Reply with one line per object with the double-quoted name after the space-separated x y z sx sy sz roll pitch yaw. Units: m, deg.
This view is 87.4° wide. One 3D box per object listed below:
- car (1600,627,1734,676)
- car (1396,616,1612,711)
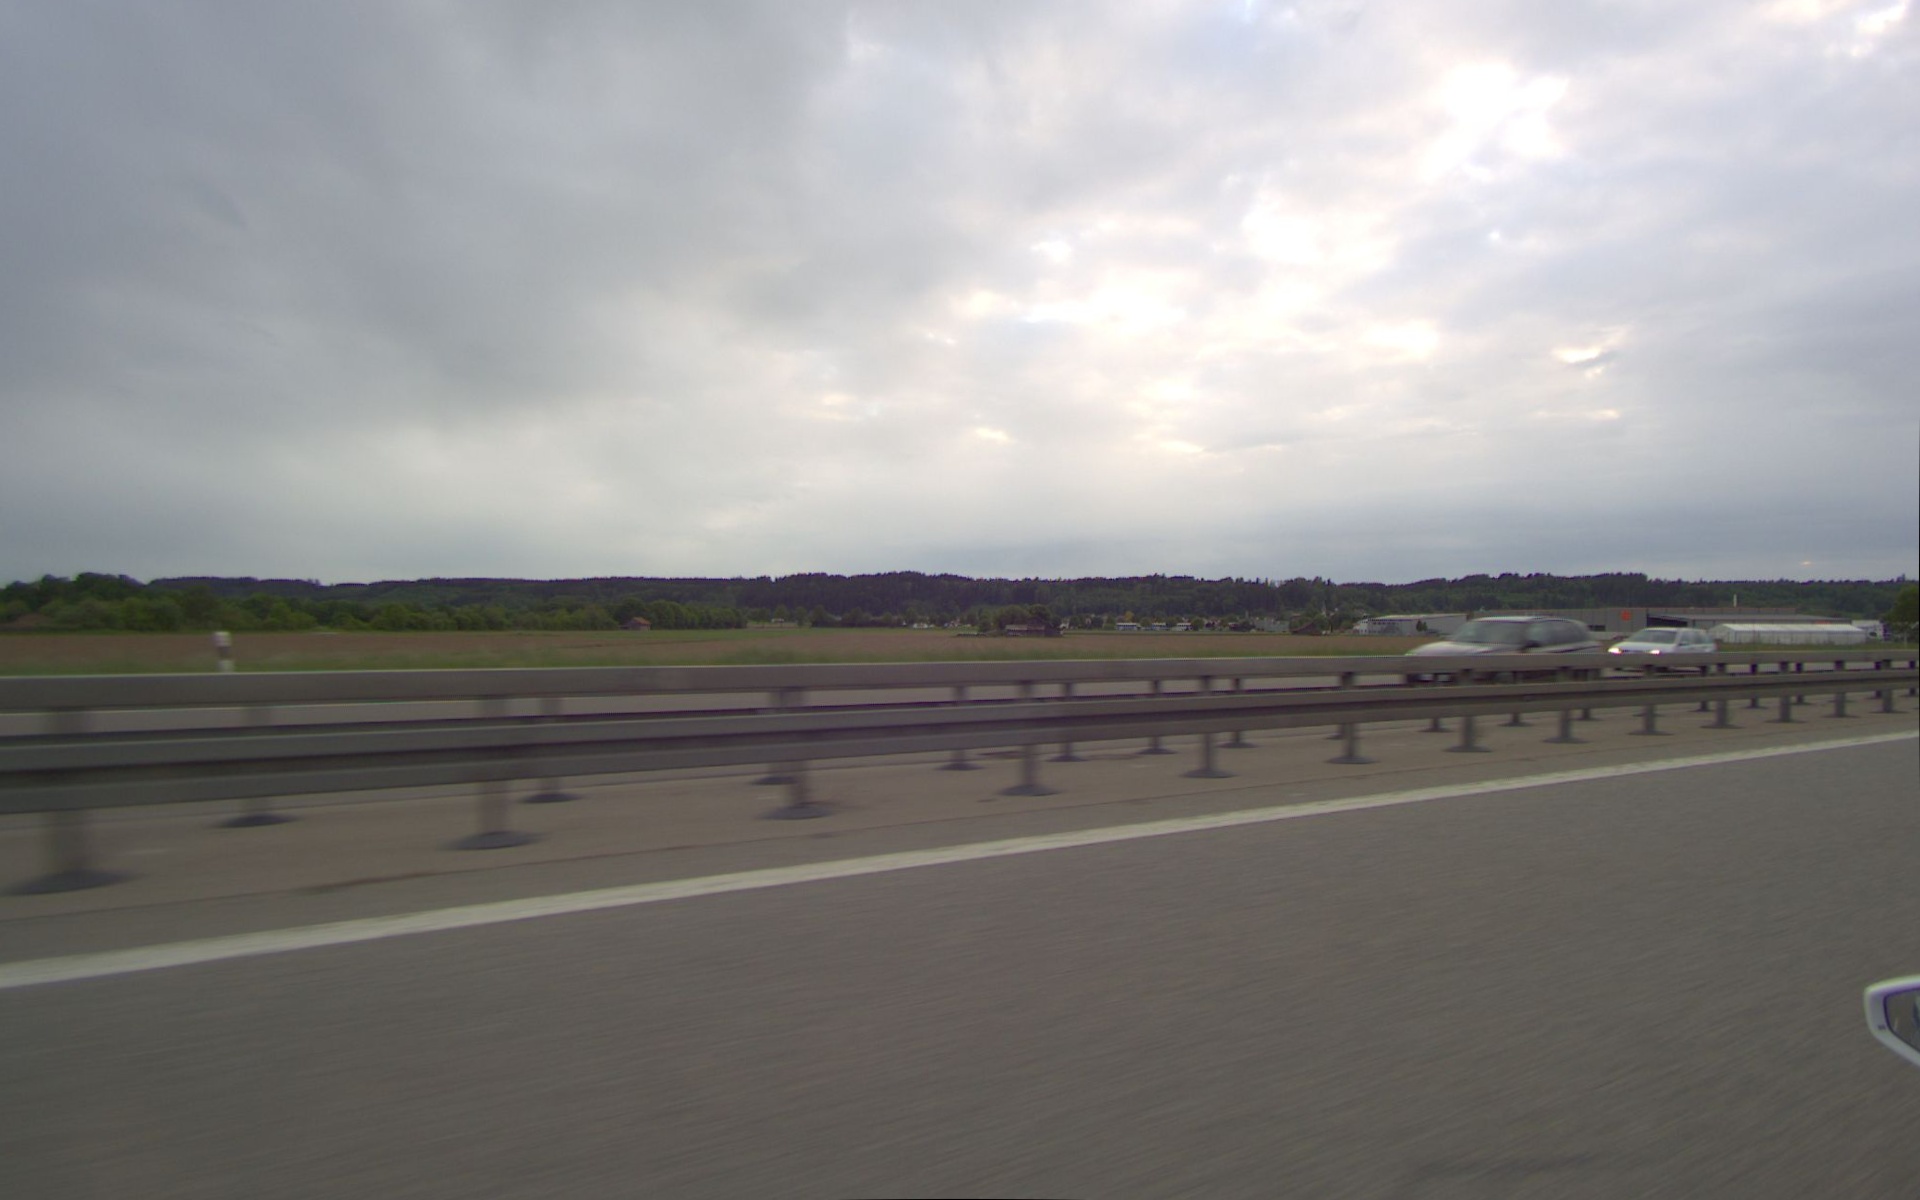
23.763 1.708 33.723 4.708 1.516 1.983 2 -1 -31 "car"
11.234 1.251 20.705 4.251 1.723 1.984 2 0 -30 "car"
